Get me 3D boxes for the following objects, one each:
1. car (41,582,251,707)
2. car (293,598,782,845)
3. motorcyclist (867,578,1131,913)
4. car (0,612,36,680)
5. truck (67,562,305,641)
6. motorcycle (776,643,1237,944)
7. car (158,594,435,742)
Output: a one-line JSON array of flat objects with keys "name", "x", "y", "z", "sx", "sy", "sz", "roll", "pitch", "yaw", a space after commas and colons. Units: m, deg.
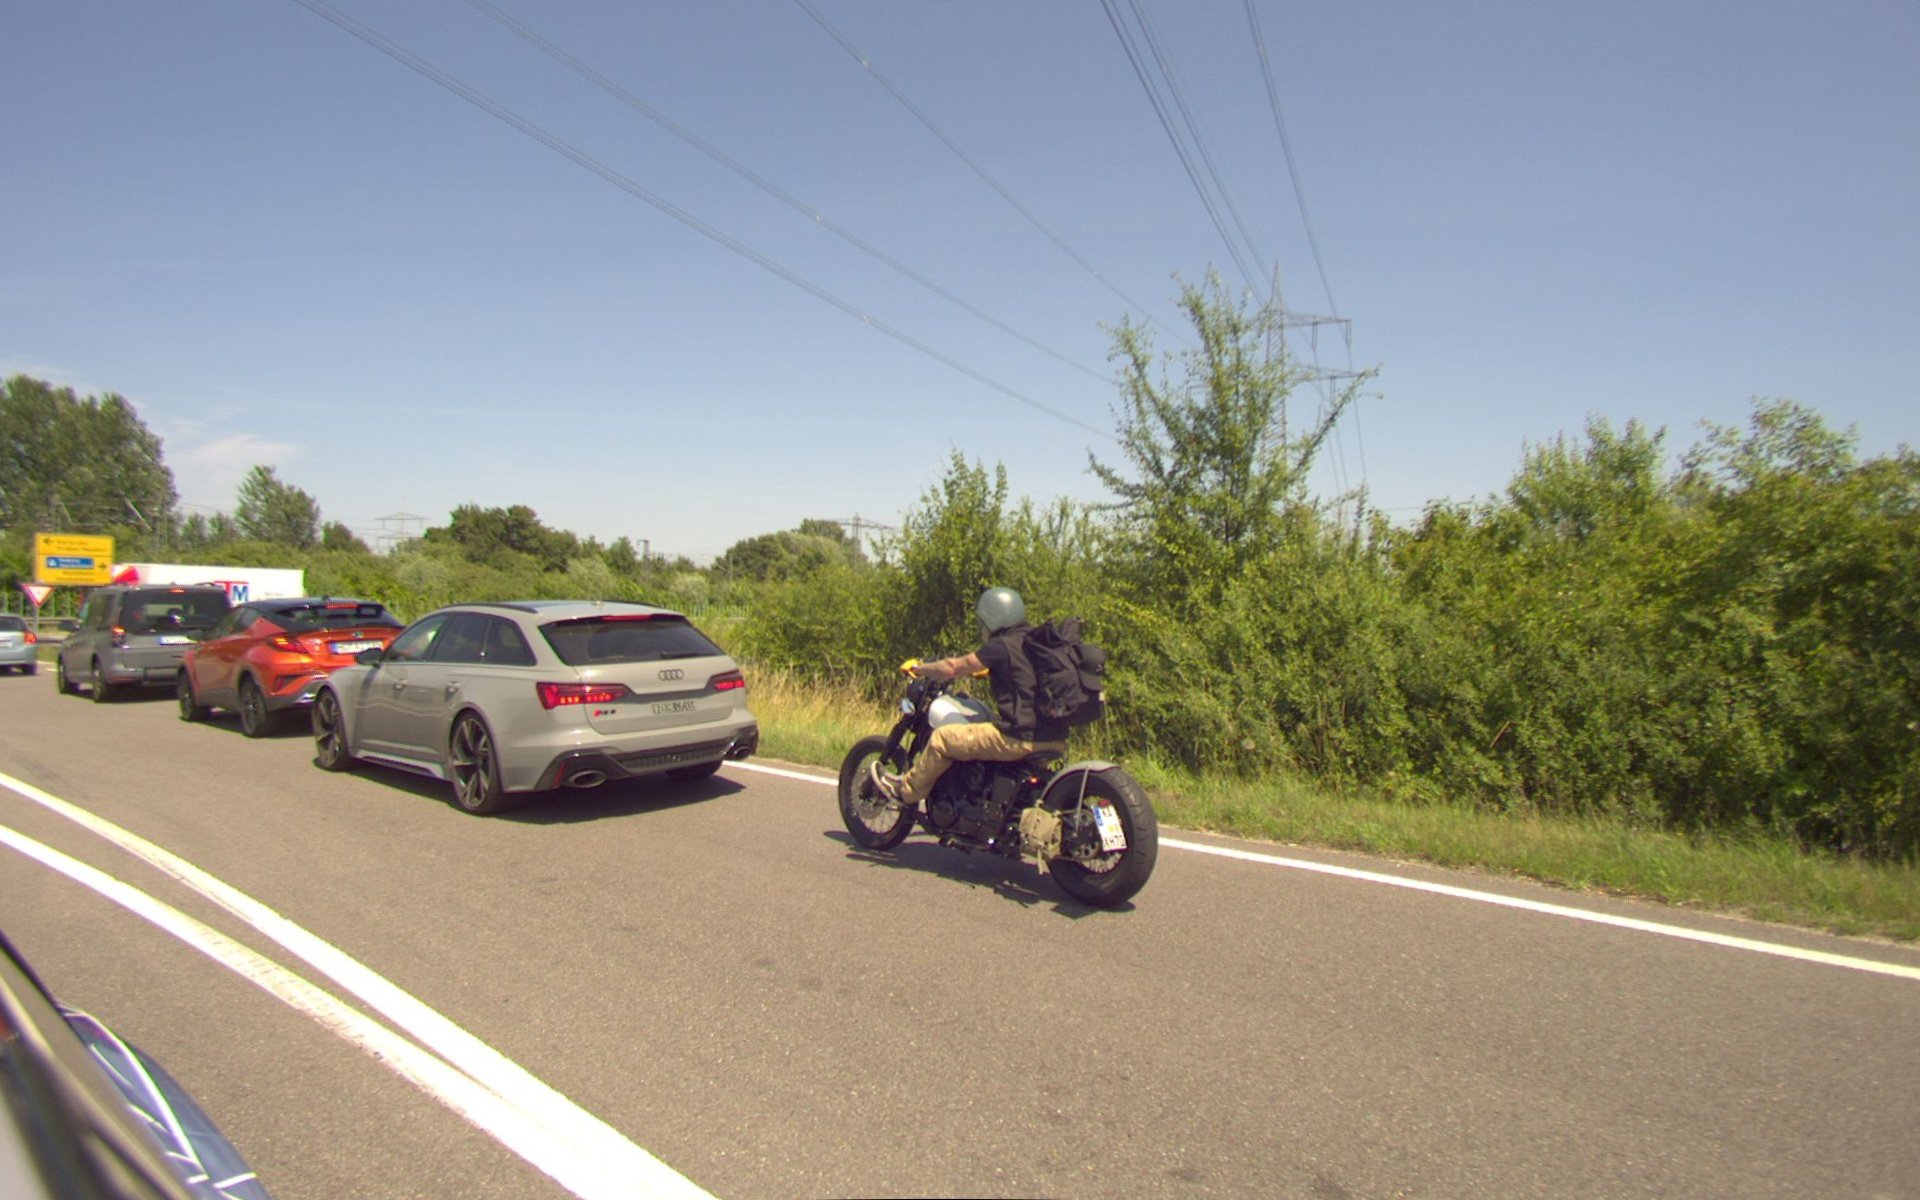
[{"name": "car", "x": -13.797, "y": 0.685, "z": 17.071, "sx": 4.434, "sy": 1.846, "sz": 1.907, "roll": -1, "pitch": -1, "yaw": 39}, {"name": "car", "x": -3.696, "y": 0.725, "z": 8.331, "sx": 4.807, "sy": 1.471, "sz": 1.822, "roll": 0, "pitch": 0, "yaw": 41}, {"name": "motorcyclist", "x": 0.192, "y": 0.656, "z": 5.219, "sx": 1.130, "sy": 1.506, "sz": 0.772, "roll": 0, "pitch": -1, "yaw": 41}, {"name": "car", "x": -22.588, "y": 1.021, "z": 22.997, "sx": 4.001, "sy": 1.470, "sz": 1.617, "roll": -1, "pitch": -2, "yaw": 37}, {"name": "truck", "x": -38.654, "y": 0.033, "z": 51.129, "sx": 2.708, "sy": 3.606, "sz": 9.481, "roll": 0, "pitch": 1, "yaw": 23}, {"name": "motorcycle", "x": 0.125, "y": 0.837, "z": 5.224, "sx": 2.428, "sy": 1.132, "sz": 0.773, "roll": 0, "pitch": 1, "yaw": 41}, {"name": "car", "x": -8.374, "y": 0.719, "z": 12.611, "sx": 4.390, "sy": 1.527, "sz": 1.780, "roll": 0, "pitch": -1, "yaw": 41}]
